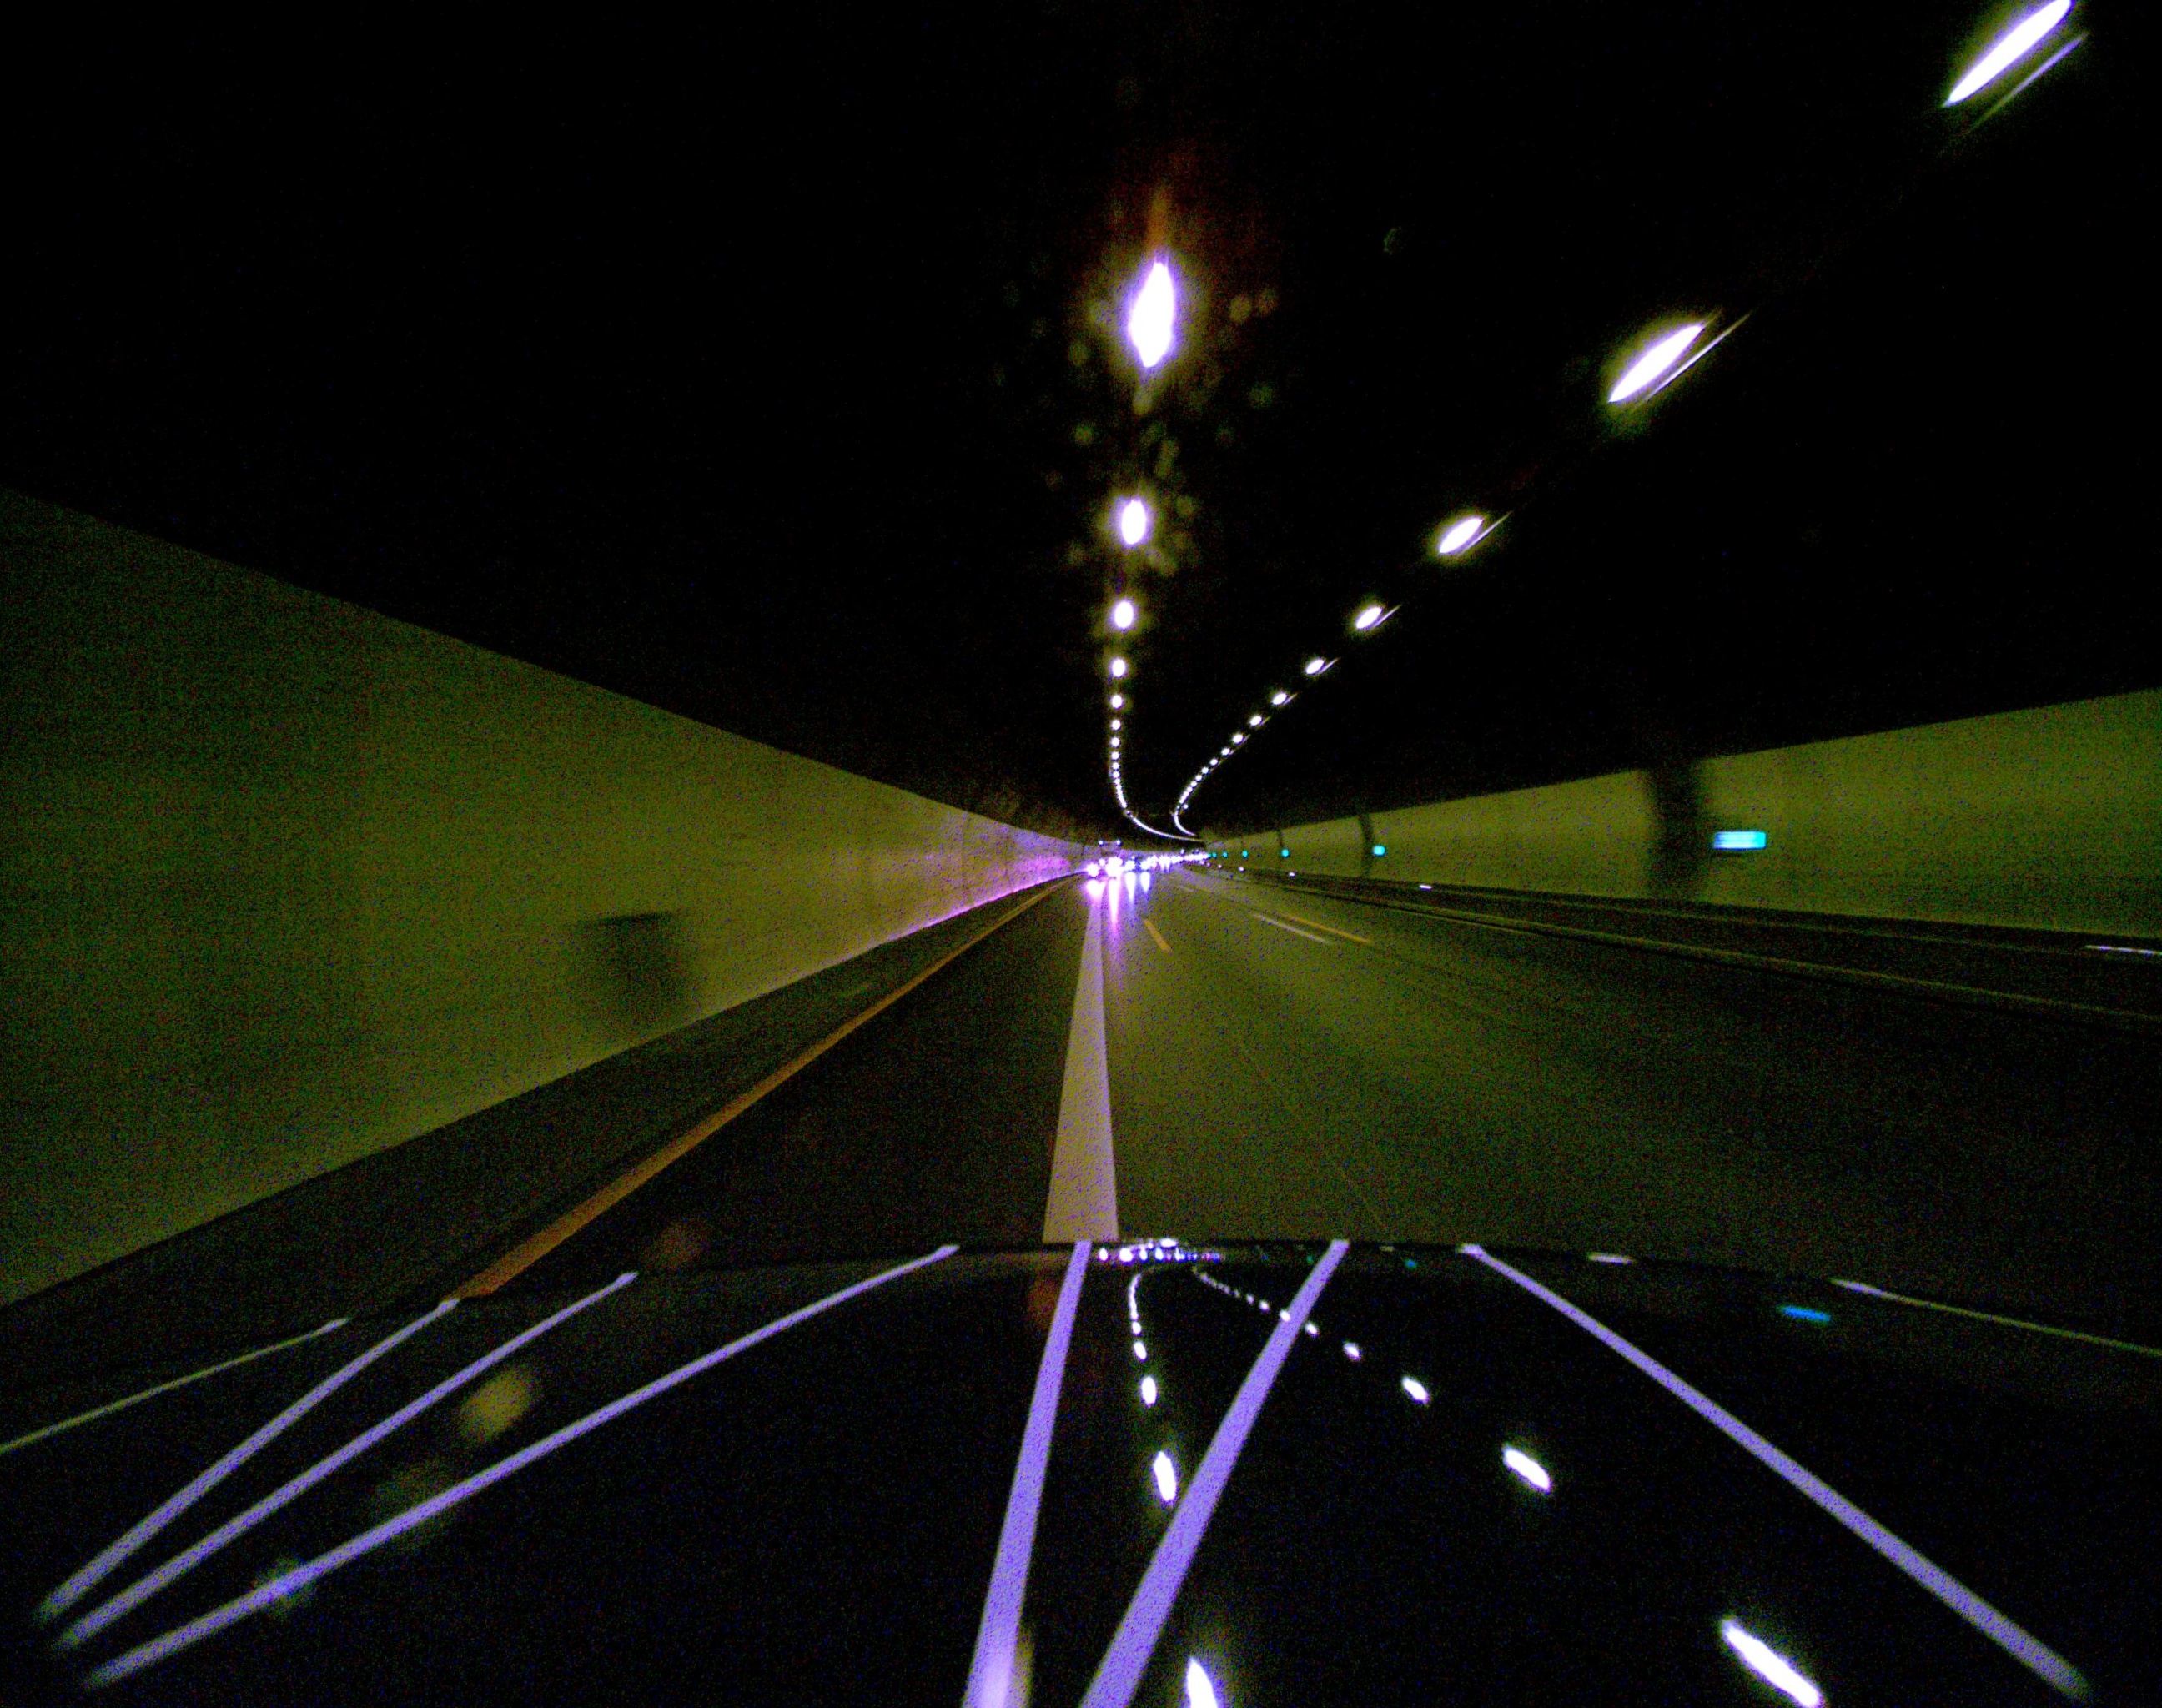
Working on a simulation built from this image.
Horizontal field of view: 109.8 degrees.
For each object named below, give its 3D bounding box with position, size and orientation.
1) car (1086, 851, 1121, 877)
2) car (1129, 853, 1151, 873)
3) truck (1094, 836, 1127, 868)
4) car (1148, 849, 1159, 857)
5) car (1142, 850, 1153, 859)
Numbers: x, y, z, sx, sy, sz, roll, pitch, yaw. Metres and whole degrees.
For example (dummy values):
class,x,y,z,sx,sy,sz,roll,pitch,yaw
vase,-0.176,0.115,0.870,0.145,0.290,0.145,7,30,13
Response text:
class,x,y,z,sx,sy,sz,roll,pitch,yaw
car,1.620,0.686,53.217,2.171,1.709,4.483,-1,0,4
car,5.536,0.827,71.007,1.998,1.655,4.001,-2,0,5
truck,3.348,-0.200,83.682,2.987,3.161,10.513,-1,0,5
car,17.360,-0.215,182.377,1.996,1.917,4.389,-1,0,13
car,14.501,0.069,165.246,1.997,1.892,4.004,-1,0,12
